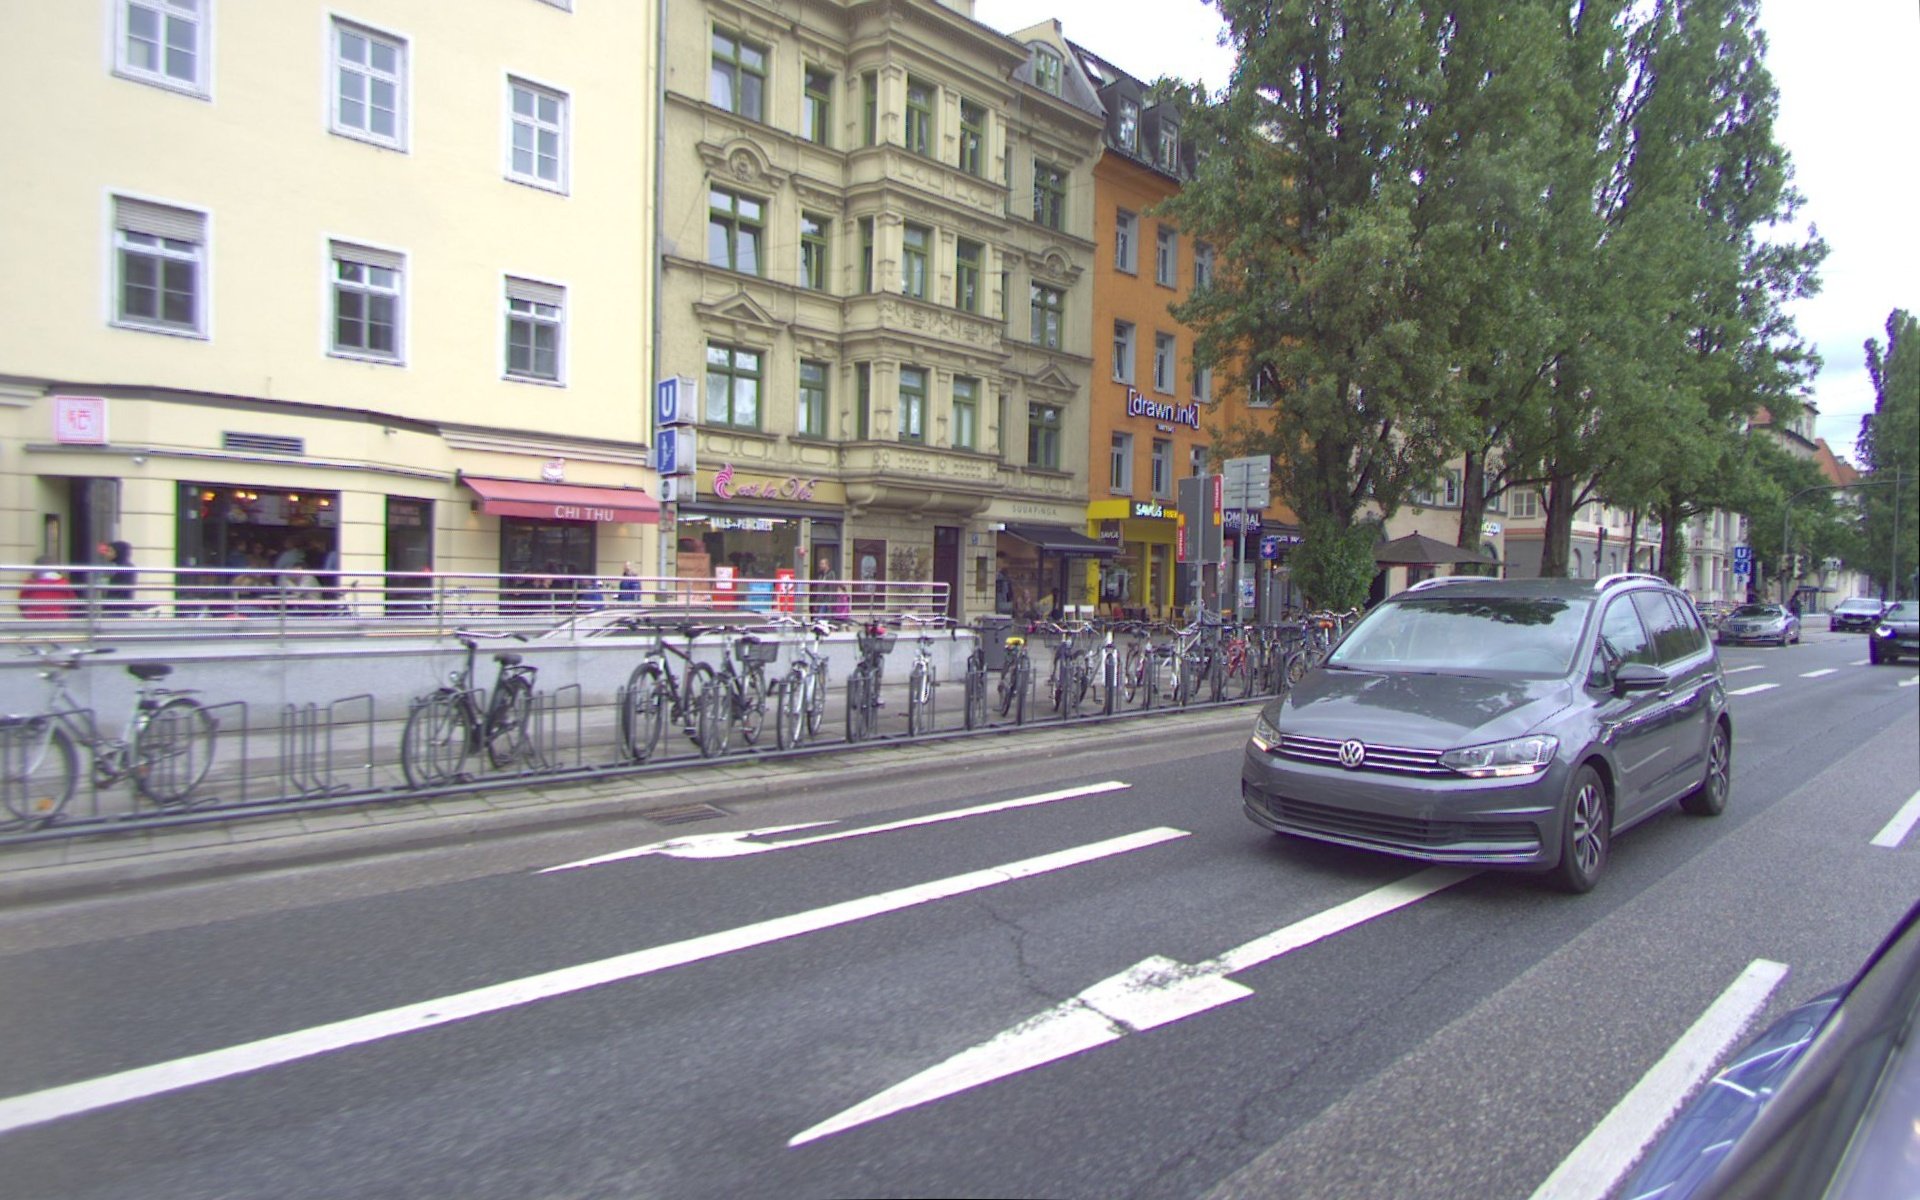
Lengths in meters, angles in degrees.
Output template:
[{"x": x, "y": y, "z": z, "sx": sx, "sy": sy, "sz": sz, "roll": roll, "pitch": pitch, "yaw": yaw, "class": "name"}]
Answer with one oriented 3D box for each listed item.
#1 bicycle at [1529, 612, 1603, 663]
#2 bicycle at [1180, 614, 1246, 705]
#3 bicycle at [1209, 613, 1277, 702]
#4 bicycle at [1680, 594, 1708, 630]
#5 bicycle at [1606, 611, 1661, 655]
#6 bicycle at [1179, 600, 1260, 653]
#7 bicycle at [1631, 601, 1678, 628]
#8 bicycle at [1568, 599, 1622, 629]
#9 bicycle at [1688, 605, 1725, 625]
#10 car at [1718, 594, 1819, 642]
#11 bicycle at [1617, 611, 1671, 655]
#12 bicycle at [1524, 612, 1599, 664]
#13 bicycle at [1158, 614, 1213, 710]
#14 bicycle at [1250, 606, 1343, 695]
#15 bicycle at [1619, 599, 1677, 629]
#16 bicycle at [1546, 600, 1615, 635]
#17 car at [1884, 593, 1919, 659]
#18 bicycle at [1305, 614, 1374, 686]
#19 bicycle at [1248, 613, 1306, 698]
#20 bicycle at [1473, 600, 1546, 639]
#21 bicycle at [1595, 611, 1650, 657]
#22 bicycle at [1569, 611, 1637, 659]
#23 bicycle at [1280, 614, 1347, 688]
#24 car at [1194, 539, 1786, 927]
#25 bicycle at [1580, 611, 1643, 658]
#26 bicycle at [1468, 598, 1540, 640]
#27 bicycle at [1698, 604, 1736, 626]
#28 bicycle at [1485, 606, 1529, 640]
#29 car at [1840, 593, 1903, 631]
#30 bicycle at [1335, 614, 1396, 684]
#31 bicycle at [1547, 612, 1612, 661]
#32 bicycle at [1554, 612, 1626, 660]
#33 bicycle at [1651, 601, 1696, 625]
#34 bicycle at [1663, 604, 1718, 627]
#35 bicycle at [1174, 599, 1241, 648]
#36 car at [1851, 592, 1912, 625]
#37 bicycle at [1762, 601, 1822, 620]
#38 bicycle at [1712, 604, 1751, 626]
[{"x": 12.973, "y": 0.778, "z": 21.715, "sx": 0.368, "sy": 1.008, "sz": 1.843, "roll": 2, "pitch": 0, "yaw": -3, "class": "bicycle"}, {"x": 3.265, "y": 0.733, "z": 13.176, "sx": 0.341, "sy": 1.008, "sz": 1.843, "roll": 1, "pitch": 2, "yaw": -1, "class": "bicycle"}, {"x": 3.774, "y": 0.733, "z": 13.587, "sx": 0.341, "sy": 1.008, "sz": 1.843, "roll": 1, "pitch": 2, "yaw": -1, "class": "bicycle"}, {"x": 27.634, "y": 0.449, "z": 38.106, "sx": 1.747, "sy": 1.304, "sz": 0.424, "roll": 0, "pitch": 1, "yaw": -40, "class": "bicycle"}, {"x": 16.197, "y": 0.780, "z": 24.367, "sx": 0.369, "sy": 1.008, "sz": 1.836, "roll": 2, "pitch": 0, "yaw": 10, "class": "bicycle"}, {"x": 5.547, "y": 0.555, "z": 21.708, "sx": 1.723, "sy": 1.059, "sz": 0.381, "roll": 1, "pitch": -1, "yaw": 44, "class": "bicycle"}, {"x": 28.973, "y": 0.599, "z": 42.259, "sx": 0.385, "sy": 1.063, "sz": 1.575, "roll": 0, "pitch": 1, "yaw": -39, "class": "bicycle"}, {"x": 25.459, "y": 0.556, "z": 40.598, "sx": 0.439, "sy": 1.123, "sz": 1.802, "roll": 1, "pitch": 0, "yaw": -38, "class": "bicycle"}, {"x": 36.829, "y": 0.728, "z": 49.954, "sx": 1.801, "sy": 0.990, "sz": 0.393, "roll": 0, "pitch": 0, "yaw": -14, "class": "bicycle"}, {"x": 27.203, "y": 0.562, "z": 33.989, "sx": 4.453, "sy": 1.458, "sz": 1.996, "roll": 0, "pitch": 2, "yaw": -43, "class": "car"}, {"x": 16.702, "y": 0.780, "z": 24.744, "sx": 0.369, "sy": 1.008, "sz": 1.836, "roll": 2, "pitch": 0, "yaw": 10, "class": "bicycle"}, {"x": 12.572, "y": 0.777, "z": 21.219, "sx": 0.368, "sy": 1.008, "sz": 1.843, "roll": 2, "pitch": 0, "yaw": -3, "class": "bicycle"}, {"x": 2.799, "y": 0.732, "z": 12.679, "sx": 0.341, "sy": 1.008, "sz": 1.841, "roll": 2, "pitch": 2, "yaw": 3, "class": "bicycle"}, {"x": 4.815, "y": 0.689, "z": 14.603, "sx": 0.457, "sy": 1.126, "sz": 1.845, "roll": 2, "pitch": 1, "yaw": -8, "class": "bicycle"}, {"x": 26.632, "y": 0.548, "z": 39.206, "sx": 0.439, "sy": 1.124, "sz": 1.801, "roll": 1, "pitch": -1, "yaw": -38, "class": "bicycle"}, {"x": 20.741, "y": 0.571, "z": 33.866, "sx": 0.450, "sy": 1.067, "sz": 1.890, "roll": 0, "pitch": 1, "yaw": -43, "class": "bicycle"}, {"x": 23.747, "y": 0.587, "z": 24.359, "sx": 3.901, "sy": 1.523, "sz": 1.778, "roll": 0, "pitch": -1, "yaw": -41, "class": "car"}, {"x": 5.780, "y": 0.735, "z": 15.486, "sx": 0.319, "sy": 1.008, "sz": 1.842, "roll": 2, "pitch": 0, "yaw": -1, "class": "bicycle"}, {"x": 4.376, "y": 0.733, "z": 14.053, "sx": 0.319, "sy": 1.008, "sz": 1.841, "roll": 2, "pitch": 2, "yaw": 4, "class": "bicycle"}, {"x": 16.436, "y": 0.562, "z": 30.311, "sx": 0.450, "sy": 1.067, "sz": 1.892, "roll": 0, "pitch": 1, "yaw": -38, "class": "bicycle"}, {"x": 15.616, "y": 0.779, "z": 23.892, "sx": 0.369, "sy": 1.008, "sz": 1.836, "roll": 2, "pitch": 0, "yaw": 10, "class": "bicycle"}, {"x": 14.555, "y": 0.778, "z": 22.950, "sx": 0.368, "sy": 1.008, "sz": 1.841, "roll": 2, "pitch": 0, "yaw": 1, "class": "bicycle"}, {"x": 5.280, "y": 0.735, "z": 15.202, "sx": 0.319, "sy": 1.008, "sz": 1.842, "roll": 2, "pitch": 0, "yaw": -1, "class": "bicycle"}, {"x": 3.658, "y": 0.571, "z": 6.541, "sx": 4.624, "sy": 1.668, "sz": 1.775, "roll": 0, "pitch": -1, "yaw": -40, "class": "car"}, {"x": 15.086, "y": 0.779, "z": 23.463, "sx": 0.368, "sy": 1.008, "sz": 1.840, "roll": 2, "pitch": 0, "yaw": 4, "class": "bicycle"}, {"x": 16.798, "y": 0.564, "z": 31.285, "sx": 0.571, "sy": 1.188, "sz": 1.892, "roll": 0, "pitch": 1, "yaw": -38, "class": "bicycle"}, {"x": 37.084, "y": 0.719, "z": 49.580, "sx": 1.801, "sy": 1.036, "sz": 0.393, "roll": 0, "pitch": 0, "yaw": -14, "class": "bicycle"}, {"x": 15.309, "y": 0.623, "z": 28.297, "sx": 1.861, "sy": 0.903, "sz": 0.457, "roll": 0, "pitch": 1, "yaw": -42, "class": "bicycle"}, {"x": 43.661, "y": 0.549, "z": 48.444, "sx": 4.424, "sy": 1.681, "sz": 1.735, "roll": 0, "pitch": 2, "yaw": -42, "class": "car"}, {"x": 6.334, "y": 0.735, "z": 15.883, "sx": 0.319, "sy": 1.008, "sz": 1.840, "roll": 2, "pitch": 0, "yaw": 4, "class": "bicycle"}, {"x": 13.546, "y": 0.778, "z": 22.159, "sx": 0.368, "sy": 1.008, "sz": 1.840, "roll": 2, "pitch": 0, "yaw": 3, "class": "bicycle"}, {"x": 14.011, "y": 0.778, "z": 22.557, "sx": 0.368, "sy": 1.008, "sz": 1.843, "roll": 2, "pitch": 0, "yaw": -2, "class": "bicycle"}, {"x": 36.160, "y": 0.641, "z": 51.323, "sx": 1.855, "sy": 1.169, "sz": 0.464, "roll": 0, "pitch": 0, "yaw": 8, "class": "bicycle"}, {"x": 30.949, "y": 0.637, "z": 42.907, "sx": 0.385, "sy": 0.928, "sz": 1.838, "roll": 0, "pitch": 1, "yaw": -38, "class": "bicycle"}, {"x": 5.591, "y": 0.518, "z": 22.965, "sx": 0.379, "sy": 1.059, "sz": 1.730, "roll": 2, "pitch": 0, "yaw": -29, "class": "bicycle"}, {"x": 47.135, "y": 0.428, "z": 51.743, "sx": 3.895, "sy": 1.596, "sz": 1.730, "roll": 0, "pitch": 2, "yaw": -39, "class": "car"}, {"x": 53.042, "y": 0.690, "z": 64.575, "sx": 2.899, "sy": 1.163, "sz": 0.633, "roll": 0, "pitch": 0, "yaw": 33, "class": "bicycle"}, {"x": 37.418, "y": 0.728, "z": 49.063, "sx": 1.801, "sy": 1.036, "sz": 0.447, "roll": 0, "pitch": 0, "yaw": -14, "class": "bicycle"}]
